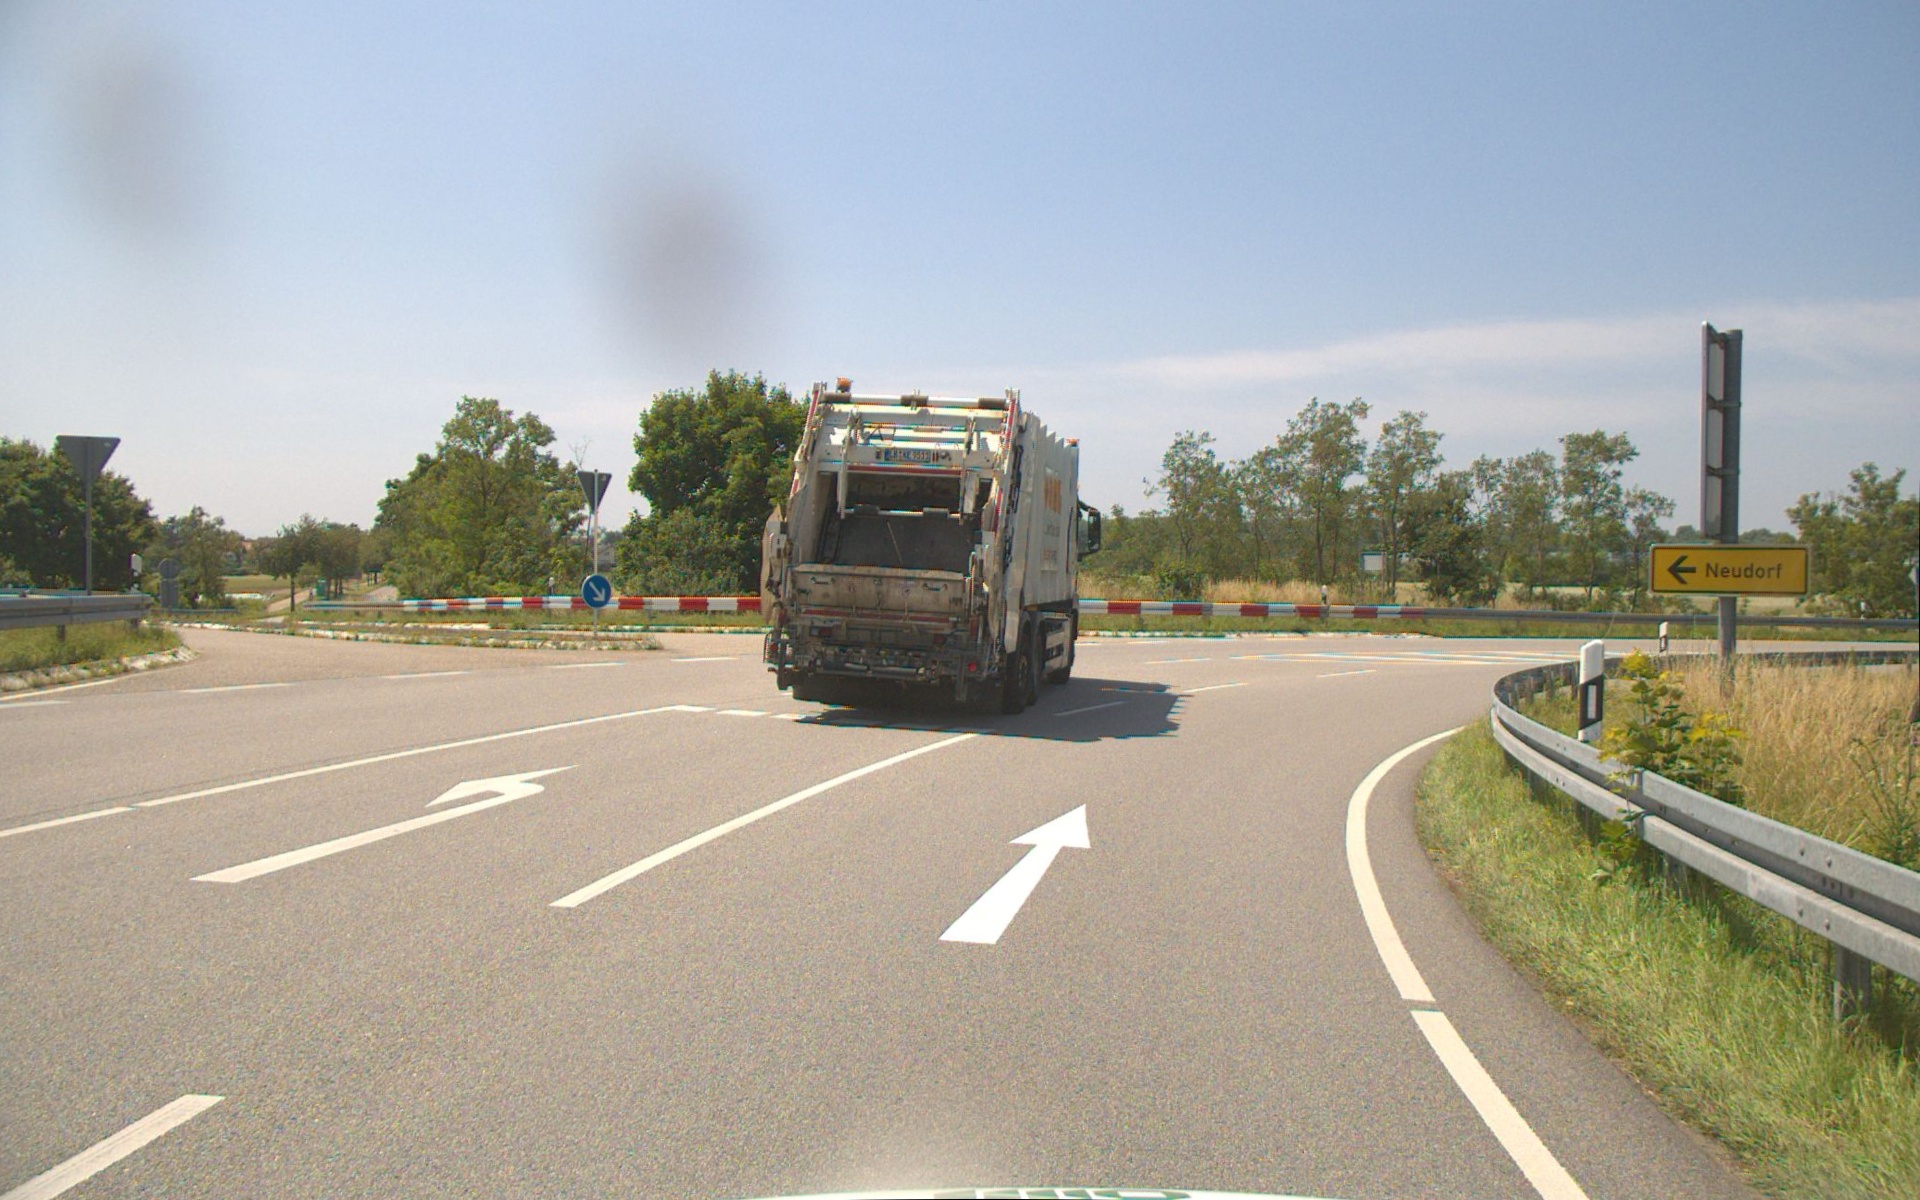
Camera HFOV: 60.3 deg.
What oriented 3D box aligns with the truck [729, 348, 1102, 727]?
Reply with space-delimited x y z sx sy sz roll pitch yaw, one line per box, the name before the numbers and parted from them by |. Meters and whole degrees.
truck | -0.063 -0.655 21.676 2.753 3.733 9.956 2 0 10
